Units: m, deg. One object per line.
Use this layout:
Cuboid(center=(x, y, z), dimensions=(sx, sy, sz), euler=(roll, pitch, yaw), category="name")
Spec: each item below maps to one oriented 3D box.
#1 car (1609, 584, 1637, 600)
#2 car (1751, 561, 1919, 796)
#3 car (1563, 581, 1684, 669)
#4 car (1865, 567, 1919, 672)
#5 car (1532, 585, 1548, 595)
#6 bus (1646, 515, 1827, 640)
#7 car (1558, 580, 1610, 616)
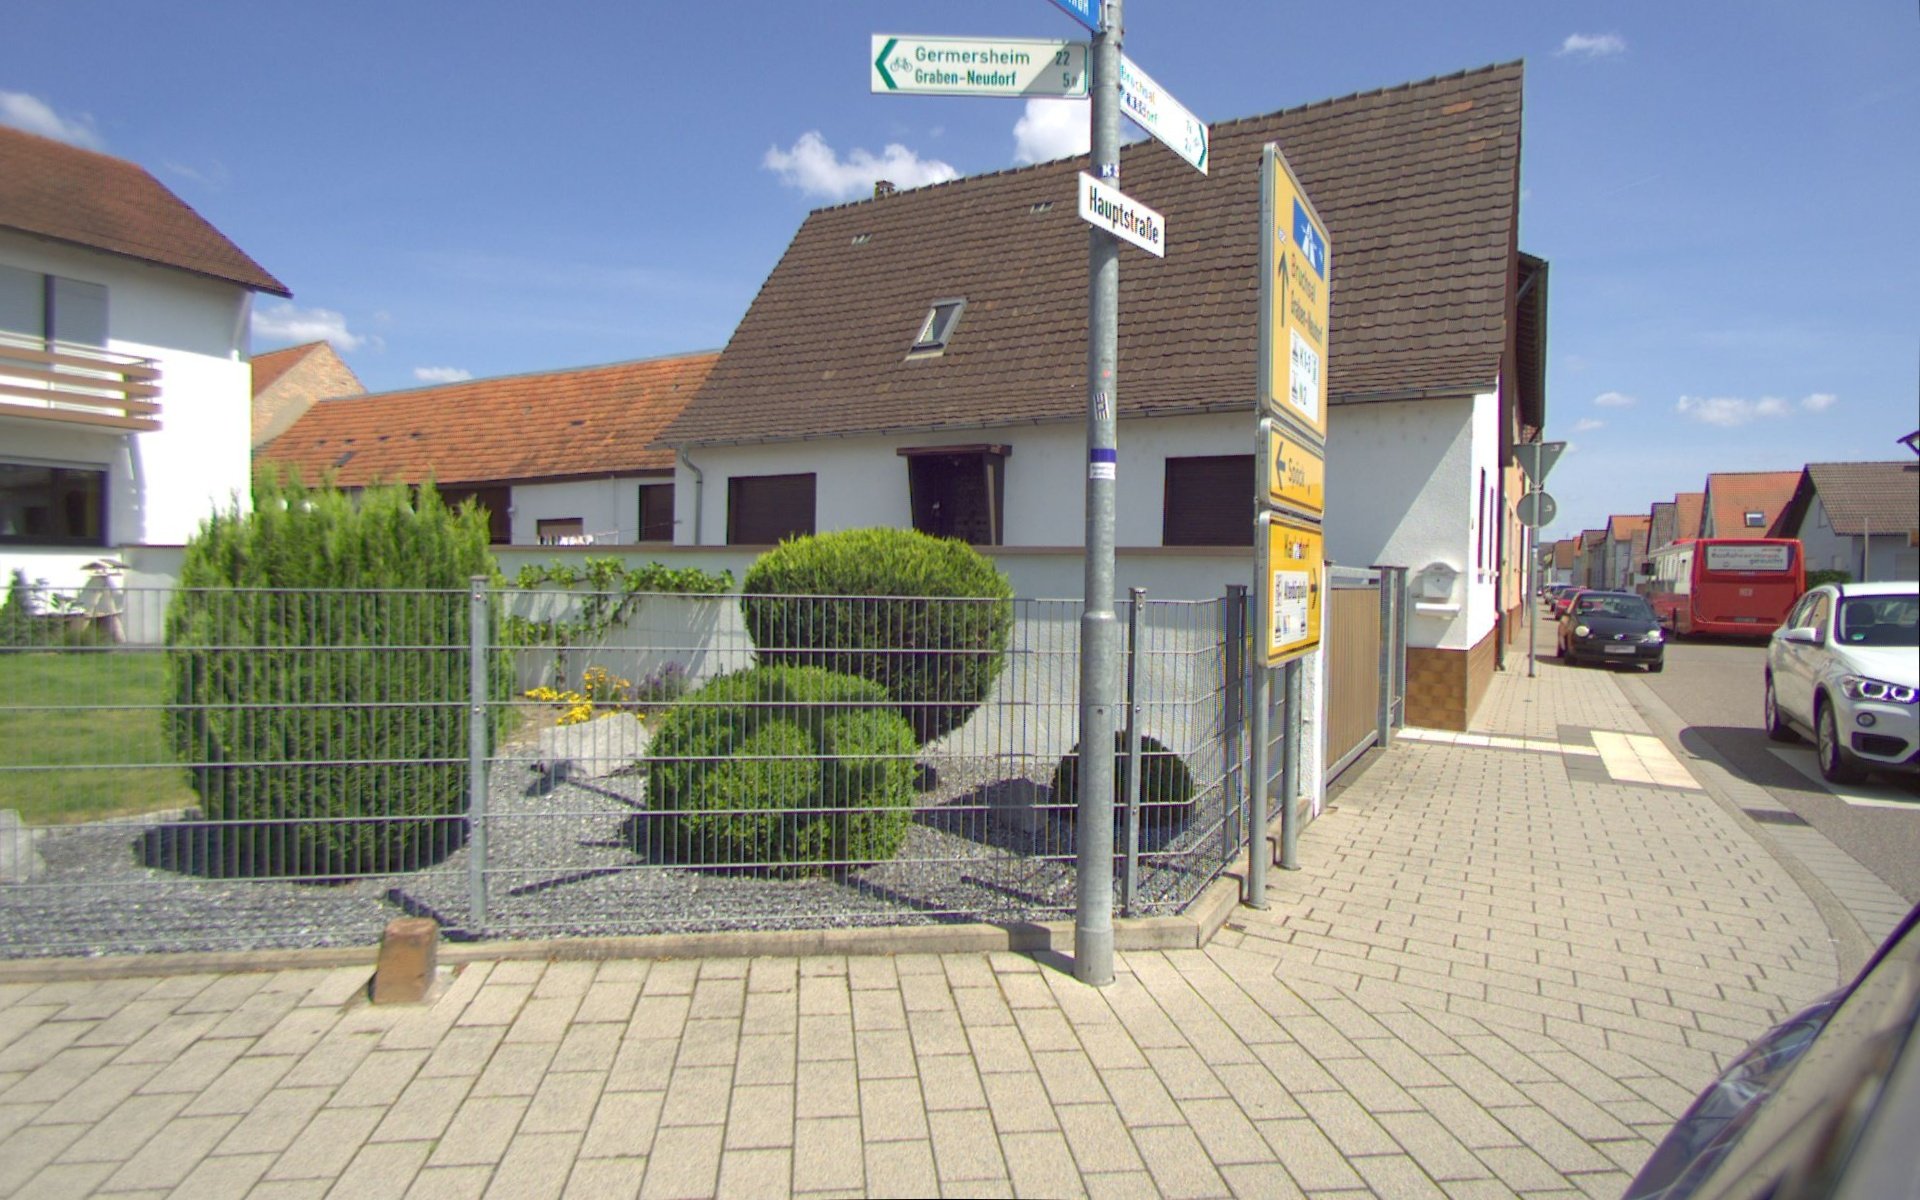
Cuboid(center=(62.536, -0.743, 95.556), dimensions=(1.749, 1.446, 3.816), euler=(2, 1, 27), category="car")
Cuboid(center=(8.363, 0.529, 8.742), dimensions=(1.831, 1.666, 4.327), euler=(-1, 0, 31), category="car")
Cuboid(center=(12.934, 0.418, 19.904), dimensions=(1.678, 1.481, 3.591), euler=(4, 2, 30), category="car")
Cuboid(center=(17.804, 0.376, 17.703), dimensions=(1.760, 1.843, 4.401), euler=(3, 2, 27), category="car")
Cuboid(center=(84.620, -1.451, 147.683), dimensions=(1.749, 1.446, 3.816), euler=(2, 1, 27), category="car")
Cuboid(center=(24.510, -0.756, 32.649), dimensions=(2.612, 3.271, 11.904), euler=(3, 3, 28), category="bus")
Cuboid(center=(27.426, -0.114, 44.557), dimensions=(1.751, 1.446, 4.145), euler=(2, 2, 30), category="car")
